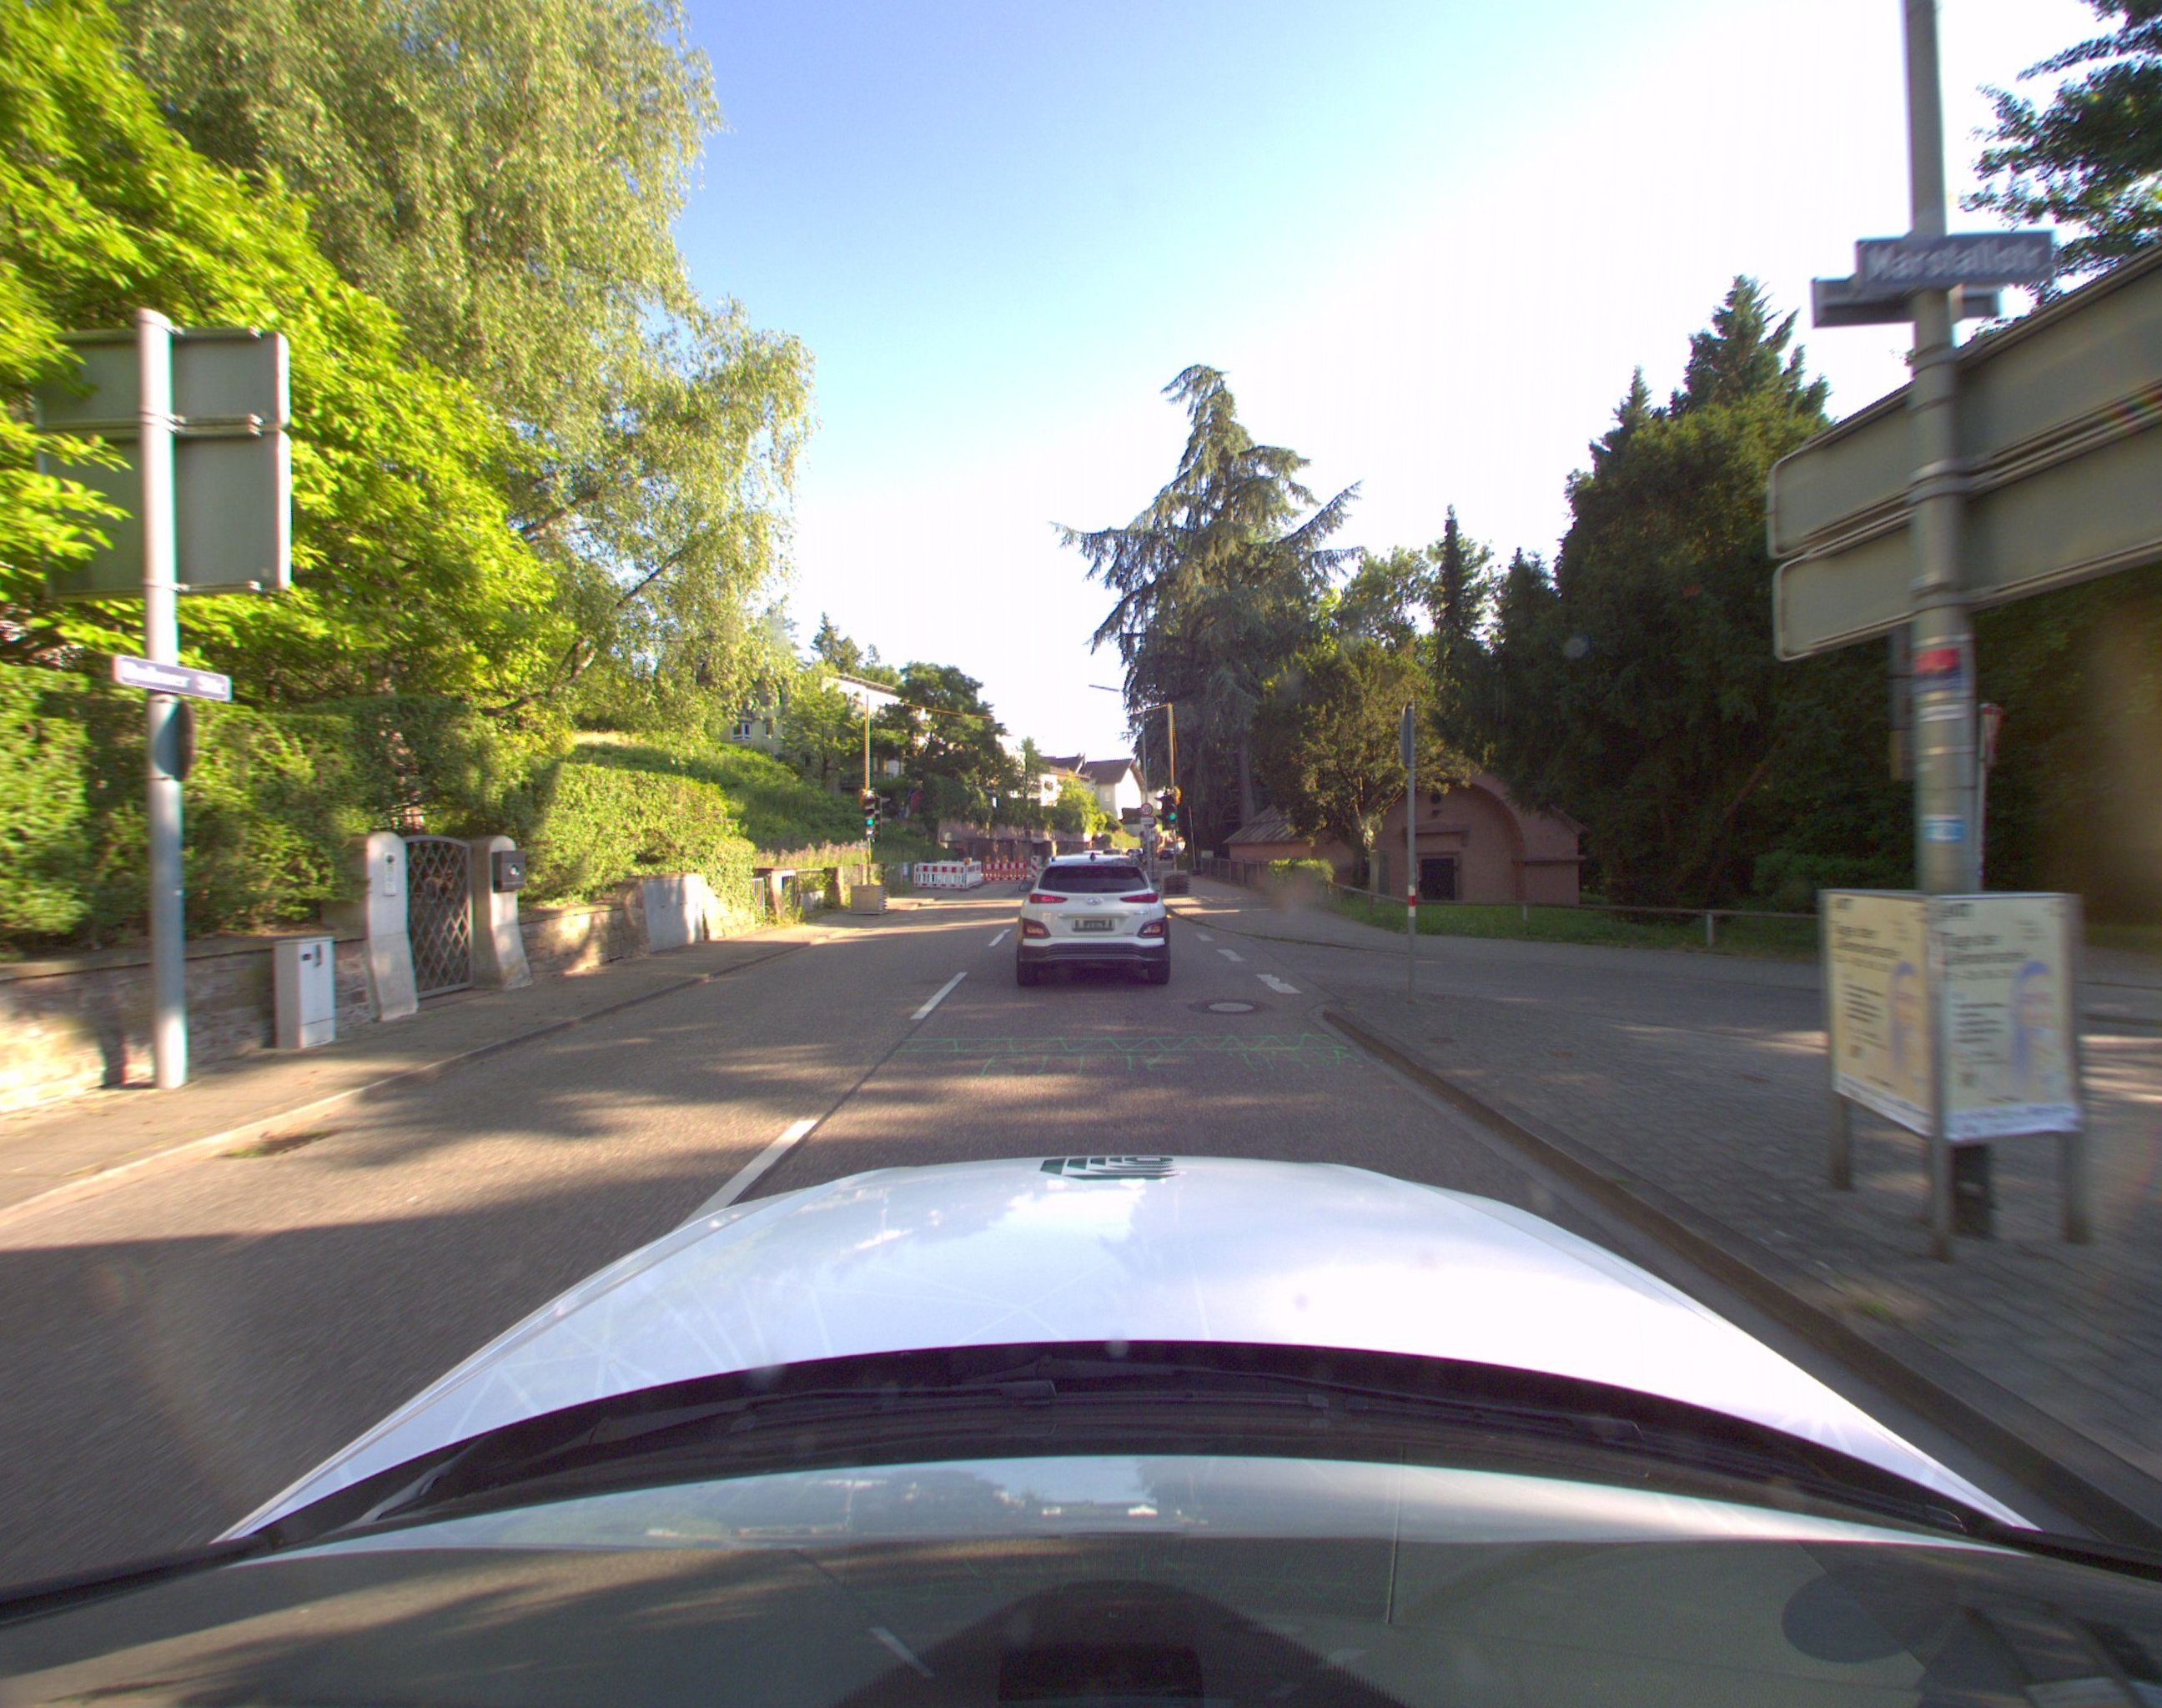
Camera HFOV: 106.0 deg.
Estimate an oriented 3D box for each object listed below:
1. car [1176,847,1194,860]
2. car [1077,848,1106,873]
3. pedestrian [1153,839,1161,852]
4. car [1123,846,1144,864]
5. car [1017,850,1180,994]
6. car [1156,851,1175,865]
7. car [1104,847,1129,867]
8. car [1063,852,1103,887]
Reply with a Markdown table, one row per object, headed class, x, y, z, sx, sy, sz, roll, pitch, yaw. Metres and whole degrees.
| class | x | y | z | sx | sy | sz | roll | pitch | yaw |
| --- | --- | --- | --- | --- | --- | --- | --- | --- | --- |
| car | 14.548 | -0.079 | 113.643 | 1.817 | 1.662 | 4.019 | 0 | 0 | 19 |
| car | 0.654 | 0.360 | 52.366 | 1.799 | 1.537 | 4.000 | 0 | 0 | 1 |
| pedestrian | 10.961 | -1.187 | 117.643 | 1.071 | 1.912 | 0.844 | 0 | 0 | 17 |
| car | 5.492 | 0.084 | 84.428 | 1.821 | 1.740 | 4.010 | -1 | 0 | 9 |
| car | 0.066 | 0.740 | 11.041 | 1.817 | 1.574 | 3.994 | 0 | 0 | -4 |
| car | 10.493 | 0.454 | 100.475 | 1.819 | 1.662 | 4.015 | 0 | 0 | 13 |
| car | 3.095 | 0.225 | 70.089 | 1.822 | 1.662 | 4.008 | 0 | 0 | 7 |
| car | 0.085 | 0.645 | 36.271 | 1.702 | 1.434 | 4.364 | 0 | 0 | 0 |
